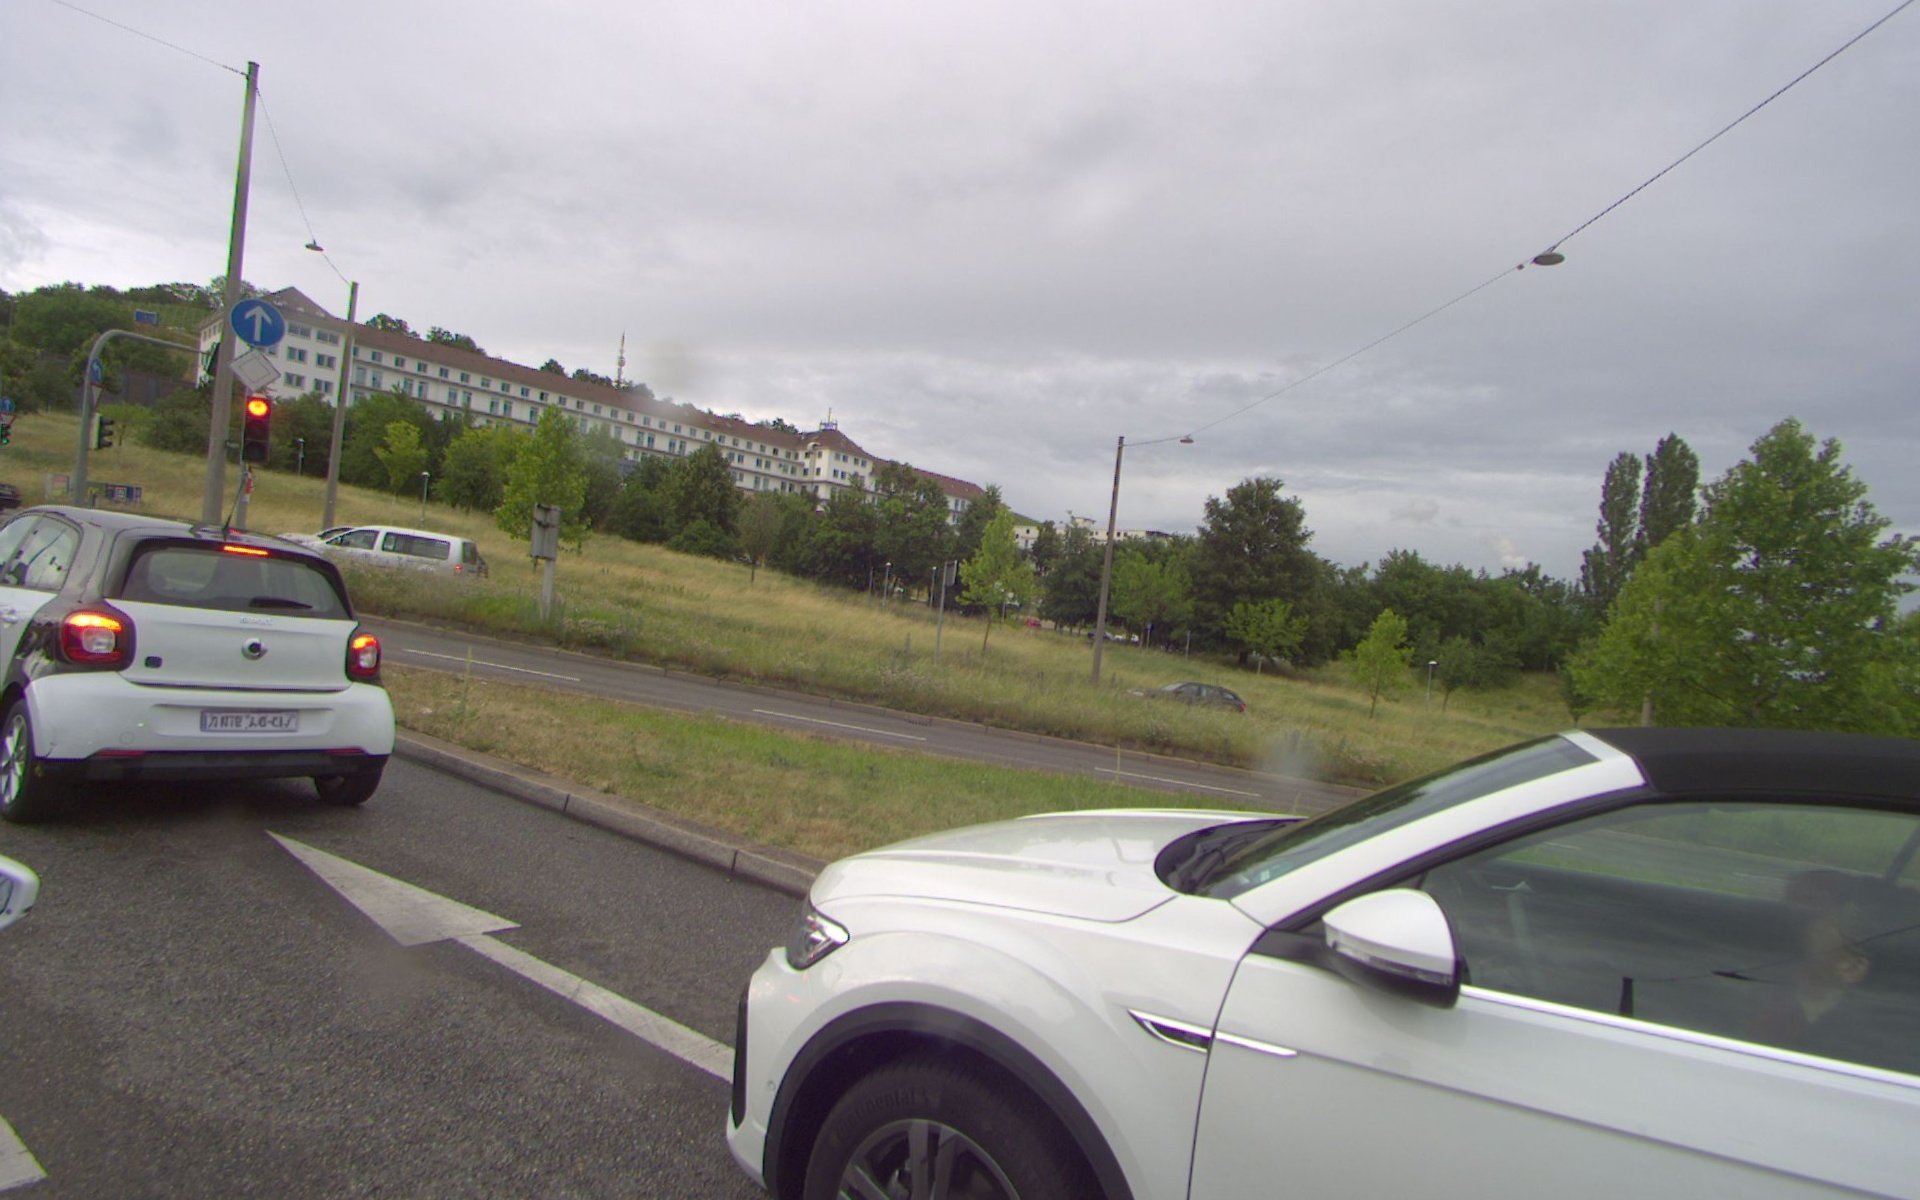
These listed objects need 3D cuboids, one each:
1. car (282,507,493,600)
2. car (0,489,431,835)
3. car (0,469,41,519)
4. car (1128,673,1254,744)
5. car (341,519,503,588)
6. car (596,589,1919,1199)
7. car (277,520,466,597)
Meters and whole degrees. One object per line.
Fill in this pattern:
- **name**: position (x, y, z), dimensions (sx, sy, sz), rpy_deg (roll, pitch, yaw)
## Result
- **car**: position (-15.995, -1.253, 28.352), dimensions (4.620, 1.871, 1.819), rpy_deg (8, -2, -11)
- **car**: position (-4.979, 0.234, 6.115), dimensions (3.398, 1.520, 1.659), rpy_deg (6, -2, 36)
- **car**: position (-34.288, -3.902, 33.962), dimensions (4.422, 1.494, 2.000), rpy_deg (7, -2, -4)
- **car**: position (8.572, 4.027, 37.480), dimensions (3.932, 2.037, 1.998), rpy_deg (7, -2, -9)
- **car**: position (-18.507, -1.573, 34.768), dimensions (4.342, 1.655, 2.000), rpy_deg (7, -2, -5)
- **car**: position (1.490, 1.028, 1.948), dimensions (4.156, 1.571, 1.718), rpy_deg (6, -2, 28)
- **car**: position (-18.080, -1.237, 31.131), dimensions (4.449, 1.639, 1.998), rpy_deg (8, -2, -10)
